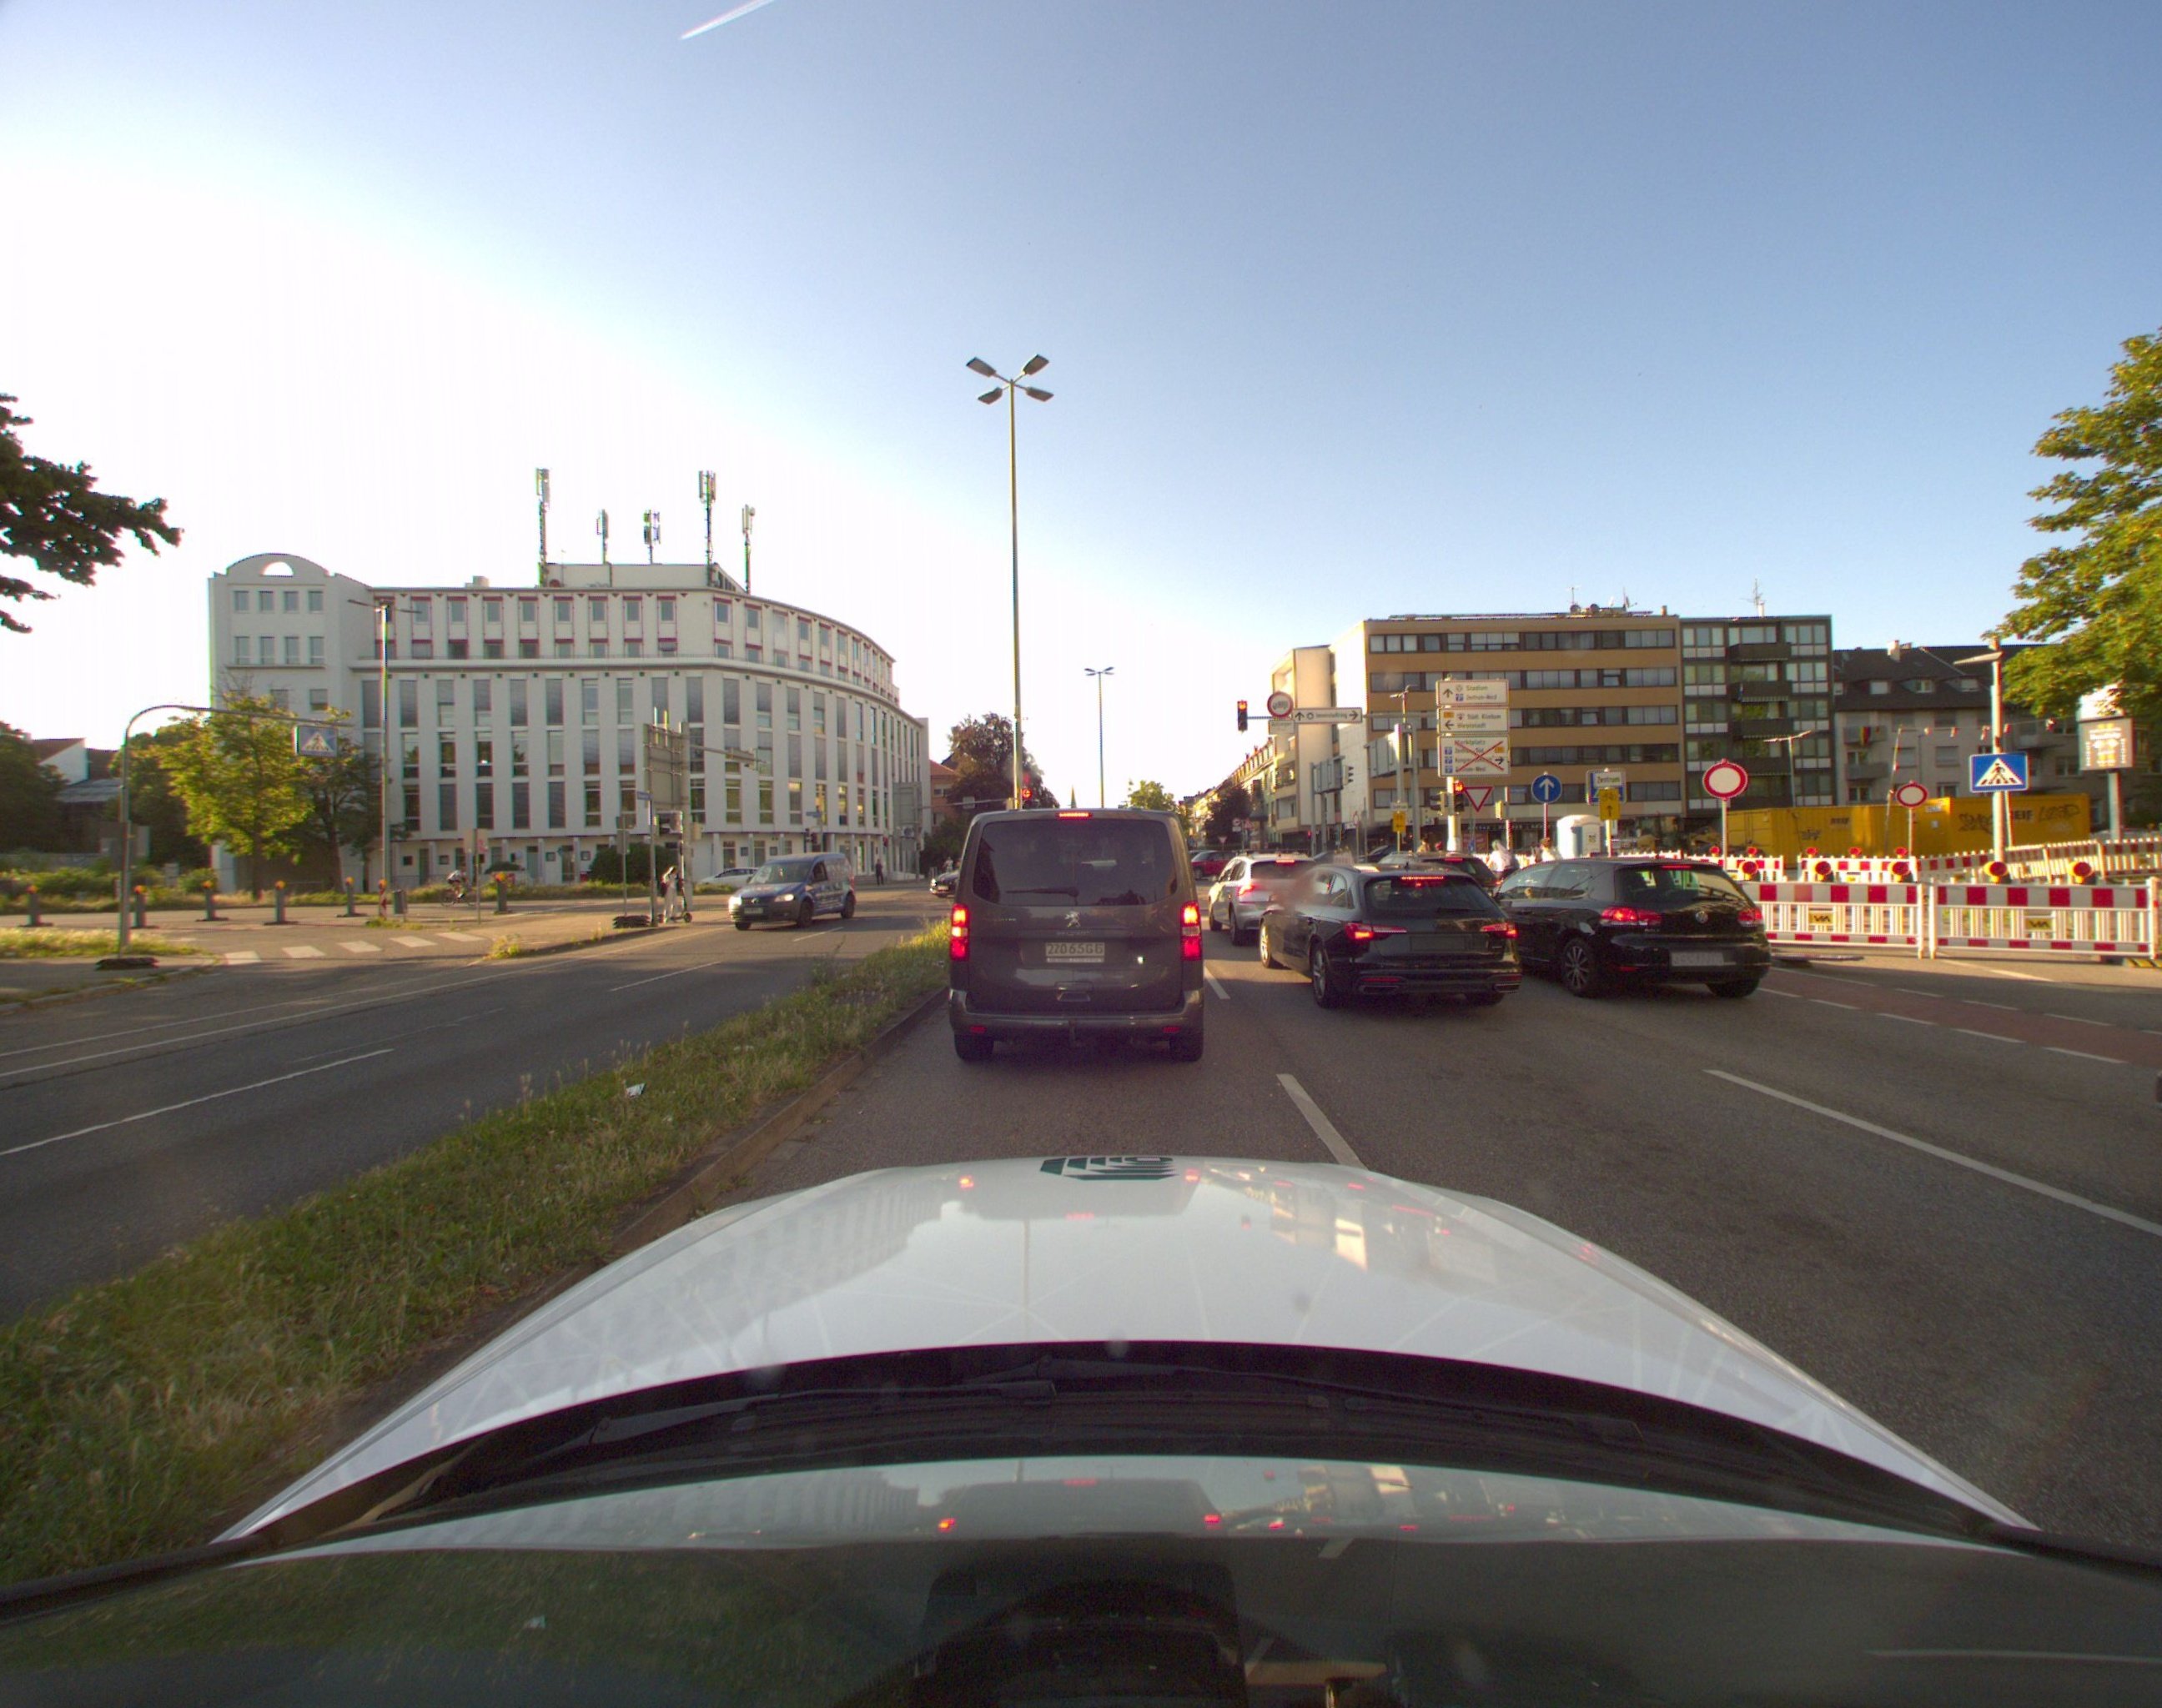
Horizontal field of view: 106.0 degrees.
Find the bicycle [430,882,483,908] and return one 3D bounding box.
[{"bbox_3d":[-26.977,1.777,35.169,1.795,1.042,0.502,-2,0,-5],"label":"bicycle"}]

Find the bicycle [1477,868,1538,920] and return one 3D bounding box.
[{"bbox_3d":[8.916,0.809,17.109,0.335,1.008,1.856,-2,0,2],"label":"bicycle"}]

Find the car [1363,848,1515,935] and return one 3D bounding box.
[{"bbox_3d":[6.577,0.625,15.312,1.499,1.449,3.306,0,0,2],"label":"car"}]

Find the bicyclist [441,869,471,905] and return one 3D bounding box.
[{"bbox_3d":[-27.000,1.405,35.162,0.884,1.496,0.457,-2,0,-5],"label":"bicyclist"}]

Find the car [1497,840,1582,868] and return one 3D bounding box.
[{"bbox_3d":[25.434,-0.019,45.179,3.990,1.418,1.675,-2,0,-12],"label":"car"}]

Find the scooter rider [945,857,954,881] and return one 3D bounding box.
[{"bbox_3d":[-9.464,1.106,58.704,0.479,1.697,0.636,-2,0,1],"label":"scooter rider"}]

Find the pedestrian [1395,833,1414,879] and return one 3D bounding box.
[{"bbox_3d":[13.215,0.072,33.302,0.567,1.834,0.488,-2,0,4],"label":"pedestrian"}]

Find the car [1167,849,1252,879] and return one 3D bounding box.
[{"bbox_3d":[6.619,0.490,41.969,4.005,1.418,1.668,-2,0,-24],"label":"car"}]

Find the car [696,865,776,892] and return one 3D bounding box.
[{"bbox_3d":[-19.512,1.394,46.151,3.775,1.372,1.648,-2,0,-4],"label":"car"}]

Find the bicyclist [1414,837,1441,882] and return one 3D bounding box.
[{"bbox_3d":[12.632,0.187,29.677,0.616,1.589,0.814,0,0,-2],"label":"bicyclist"}]

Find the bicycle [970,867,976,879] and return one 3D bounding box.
[{"bbox_3d":[-8.790,1.569,66.546,0.275,0.949,1.073,-2,0,2],"label":"bicycle"}]

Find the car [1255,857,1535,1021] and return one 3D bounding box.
[{"bbox_3d":[3.204,0.759,9.254,1.675,1.421,4.215,0,0,2],"label":"car"}]

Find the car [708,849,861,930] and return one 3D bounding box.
[{"bbox_3d":[-7.370,0.813,20.757,1.984,1.817,4.235,-2,0,5],"label":"car"}]

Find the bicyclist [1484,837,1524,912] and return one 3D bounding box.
[{"bbox_3d":[8.915,0.425,17.194,0.439,1.525,0.725,-2,0,2],"label":"bicyclist"}]

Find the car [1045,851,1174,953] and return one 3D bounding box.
[{"bbox_3d":[0.506,0.751,14.743,1.986,1.530,4.002,-2,0,2],"label":"car"}]

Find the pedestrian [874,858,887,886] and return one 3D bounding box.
[{"bbox_3d":[-12.679,1.154,51.540,0.630,1.722,0.665,-1,0,-31],"label":"pedestrian"}]

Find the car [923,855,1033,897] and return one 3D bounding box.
[{"bbox_3d":[-3.912,0.820,31.674,1.681,1.441,4.269,-2,0,38],"label":"car"}]

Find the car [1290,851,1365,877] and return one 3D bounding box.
[{"bbox_3d":[14.253,0.567,47.200,3.810,1.354,1.724,-2,0,-5],"label":"car"}]

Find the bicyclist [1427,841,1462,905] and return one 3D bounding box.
[{"bbox_3d":[8.981,0.459,20.130,0.511,1.525,0.725,-2,0,1],"label":"bicyclist"}]

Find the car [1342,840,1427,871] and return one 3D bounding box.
[{"bbox_3d":[16.453,0.070,44.194,3.988,1.516,1.675,-2,0,-11],"label":"car"}]

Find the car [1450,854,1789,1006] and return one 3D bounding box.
[{"bbox_3d":[5.984,0.728,9.646,1.627,1.449,3.746,0,0,2],"label":"car"}]

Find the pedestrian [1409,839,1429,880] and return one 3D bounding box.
[{"bbox_3d":[13.847,0.218,33.350,0.599,1.671,0.455,-2,0,3],"label":"pedestrian"}]

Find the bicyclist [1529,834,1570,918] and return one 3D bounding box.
[{"bbox_3d":[8.647,0.400,15.041,0.439,1.525,0.482,-2,0,1],"label":"bicyclist"}]

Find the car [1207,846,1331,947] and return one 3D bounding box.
[{"bbox_3d":[3.300,0.683,14.947,1.523,1.613,3.746,0,0,2],"label":"car"}]

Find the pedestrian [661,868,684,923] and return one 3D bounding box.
[{"bbox_3d":[-11.533,1.168,22.991,0.474,1.505,0.334,-2,0,-10],"label":"pedestrian"}]

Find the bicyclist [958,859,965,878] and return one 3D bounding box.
[{"bbox_3d":[-9.713,1.201,66.083,0.461,1.522,0.469,-2,0,1],"label":"bicyclist"}]

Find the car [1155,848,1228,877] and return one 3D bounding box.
[{"bbox_3d":[6.705,0.494,49.502,4.109,1.594,1.793,-2,-1,-4],"label":"car"}]

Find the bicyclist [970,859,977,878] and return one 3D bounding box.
[{"bbox_3d":[-8.789,1.175,66.593,0.475,1.555,0.510,-2,0,1],"label":"bicyclist"}]

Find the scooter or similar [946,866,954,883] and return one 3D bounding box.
[{"bbox_3d":[-9.459,1.460,58.779,0.284,1.189,1.169,-2,0,2],"label":"scooter or similar"}]

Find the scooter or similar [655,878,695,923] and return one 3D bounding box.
[{"bbox_3d":[-11.445,1.305,22.975,0.893,1.234,0.370,-2,0,-10],"label":"scooter or similar"}]

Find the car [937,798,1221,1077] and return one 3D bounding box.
[{"bbox_3d":[0.056,0.563,7.726,1.900,1.863,4.528,0,0,2],"label":"car"}]

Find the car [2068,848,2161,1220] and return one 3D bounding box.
[{"bbox_3d":[5.132,0.689,1.150,1.809,1.449,4.665,-1,0,-1],"label":"car"}]
